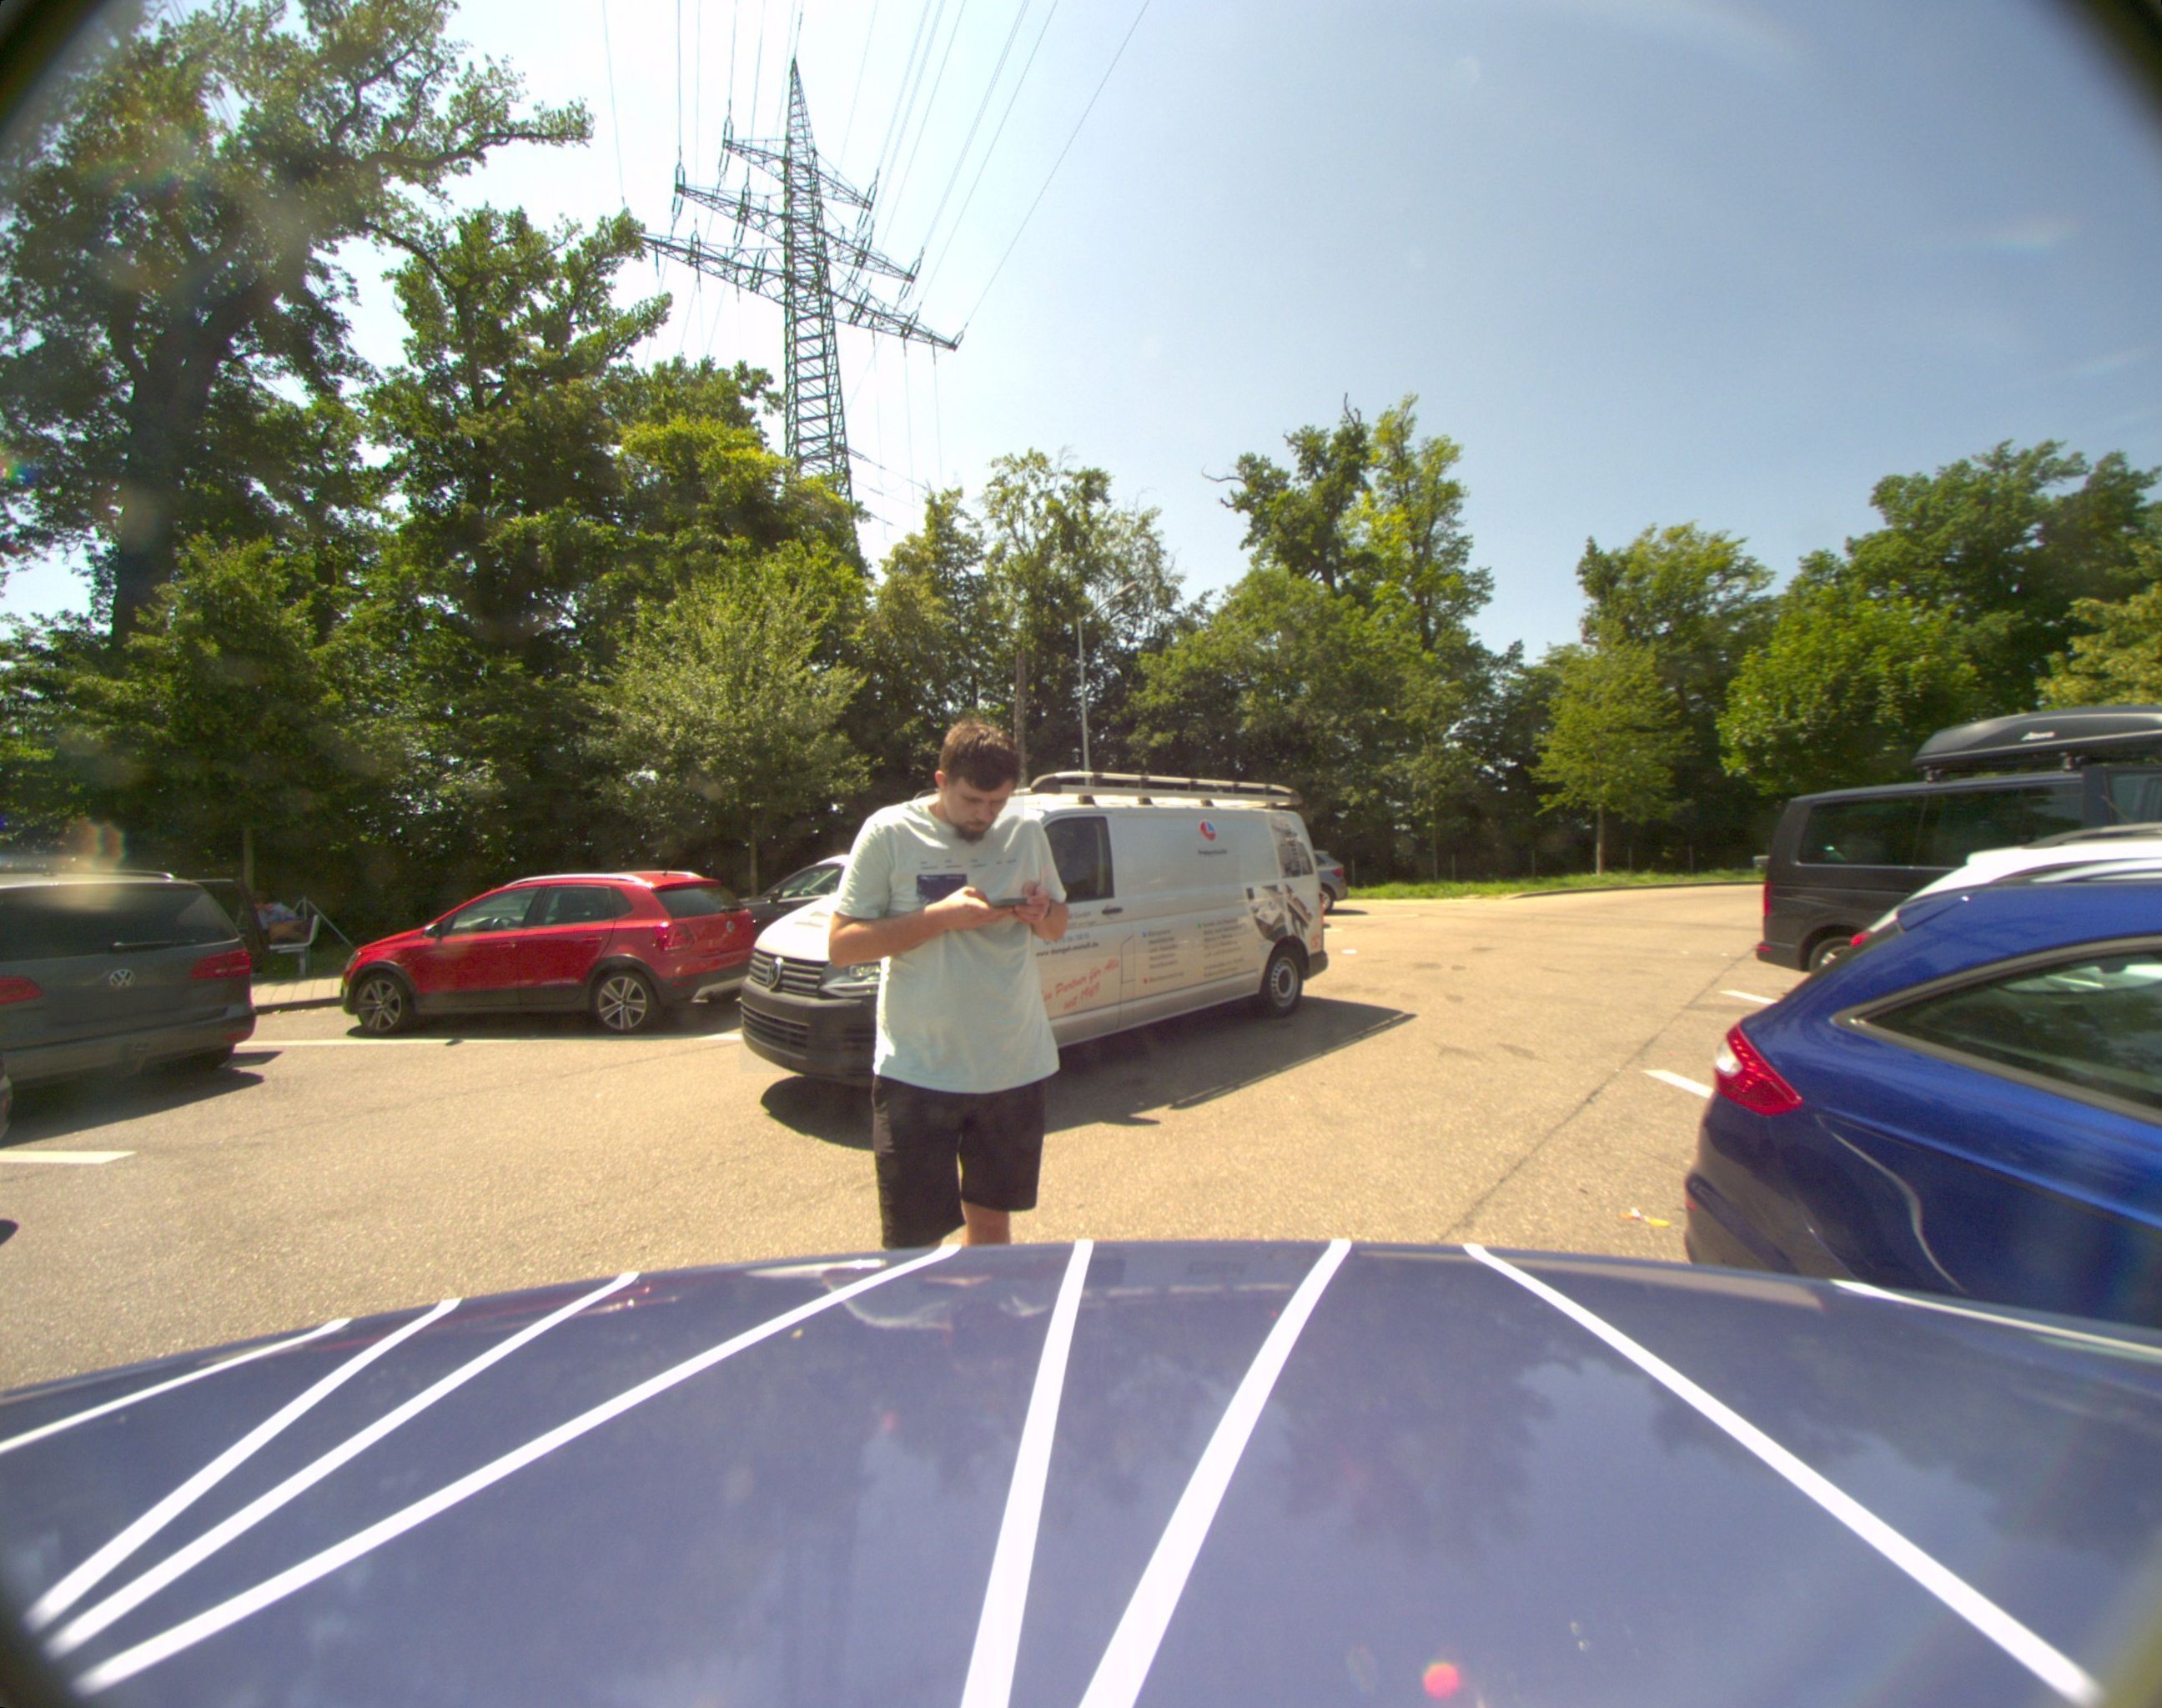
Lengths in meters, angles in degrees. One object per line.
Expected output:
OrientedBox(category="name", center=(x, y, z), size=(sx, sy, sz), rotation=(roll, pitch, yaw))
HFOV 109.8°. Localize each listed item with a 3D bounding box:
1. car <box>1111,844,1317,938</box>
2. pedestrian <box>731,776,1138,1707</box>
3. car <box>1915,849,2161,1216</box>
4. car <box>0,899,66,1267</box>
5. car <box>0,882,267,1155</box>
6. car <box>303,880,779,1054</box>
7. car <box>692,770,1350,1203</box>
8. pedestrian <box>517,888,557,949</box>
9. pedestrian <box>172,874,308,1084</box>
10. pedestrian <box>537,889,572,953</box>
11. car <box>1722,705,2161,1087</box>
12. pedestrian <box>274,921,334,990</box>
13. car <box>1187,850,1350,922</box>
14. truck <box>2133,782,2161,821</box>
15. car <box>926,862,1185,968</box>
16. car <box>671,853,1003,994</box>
OrientedBox(category="car", center=(2.592, 0.712, 15.425), size=(3.850, 1.678, 1.755), rotation=(-2, 0, 4))
OrientedBox(category="pedestrian", center=(-0.371, 0.764, 1.866), size=(0.741, 1.818, 0.613), rotation=(-2, 0, -34))
OrientedBox(category="car", center=(4.701, 0.659, 2.108), size=(1.344, 1.352, 3.114), rotation=(-2, 0, 1))
OrientedBox(category="car", center=(-6.431, 1.055, 1.948), size=(4.173, 1.607, 1.835), rotation=(-2, 0, -26))
OrientedBox(category="car", center=(-8.443, 1.099, 5.428), size=(3.903, 1.607, 1.705), rotation=(-2, 1, 11))
OrientedBox(category="car", center=(-5.262, 1.074, 7.669), size=(3.745, 1.458, 1.621), rotation=(-2, 0, 7))
OrientedBox(category="car", center=(0.060, 0.605, 6.238), size=(5.445, 2.092, 1.839), rotation=(-2, 1, -45))
OrientedBox(category="pedestrian", center=(-10.980, 1.302, 15.343), size=(0.413, 1.186, 0.443), rotation=(-2, 1, 12))
OrientedBox(category="pedestrian", center=(-7.323, 1.051, 6.634), size=(0.481, 1.712, 0.589), rotation=(-2, 1, 22))
OrientedBox(category="pedestrian", center=(-10.086, 1.275, 14.561), size=(0.366, 1.186, 0.356), rotation=(-2, 1, 21))
OrientedBox(category="car", center=(7.315, 0.239, 5.404), size=(1.788, 2.304, 4.084), rotation=(-2, 0, -5))
OrientedBox(category="pedestrian", center=(-10.788, 1.400, 10.562), size=(0.503, 0.874, 0.512), rotation=(-2, 0, -39))
OrientedBox(category="car", center=(4.361, 0.737, 18.127), size=(3.585, 1.493, 1.707), rotation=(-2, 1, 8))
OrientedBox(category="truck", center=(40.238, -1.979, 27.136), size=(1.168, 1.367, 2.882), rotation=(-2, -1, -19))
OrientedBox(category="car", center=(-0.321, 0.917, 12.095), size=(3.773, 1.445, 1.848), rotation=(-2, 0, 4))
OrientedBox(category="car", center=(-3.113, 0.873, 10.258), size=(3.866, 1.607, 1.709), rotation=(-2, 0, 0))
